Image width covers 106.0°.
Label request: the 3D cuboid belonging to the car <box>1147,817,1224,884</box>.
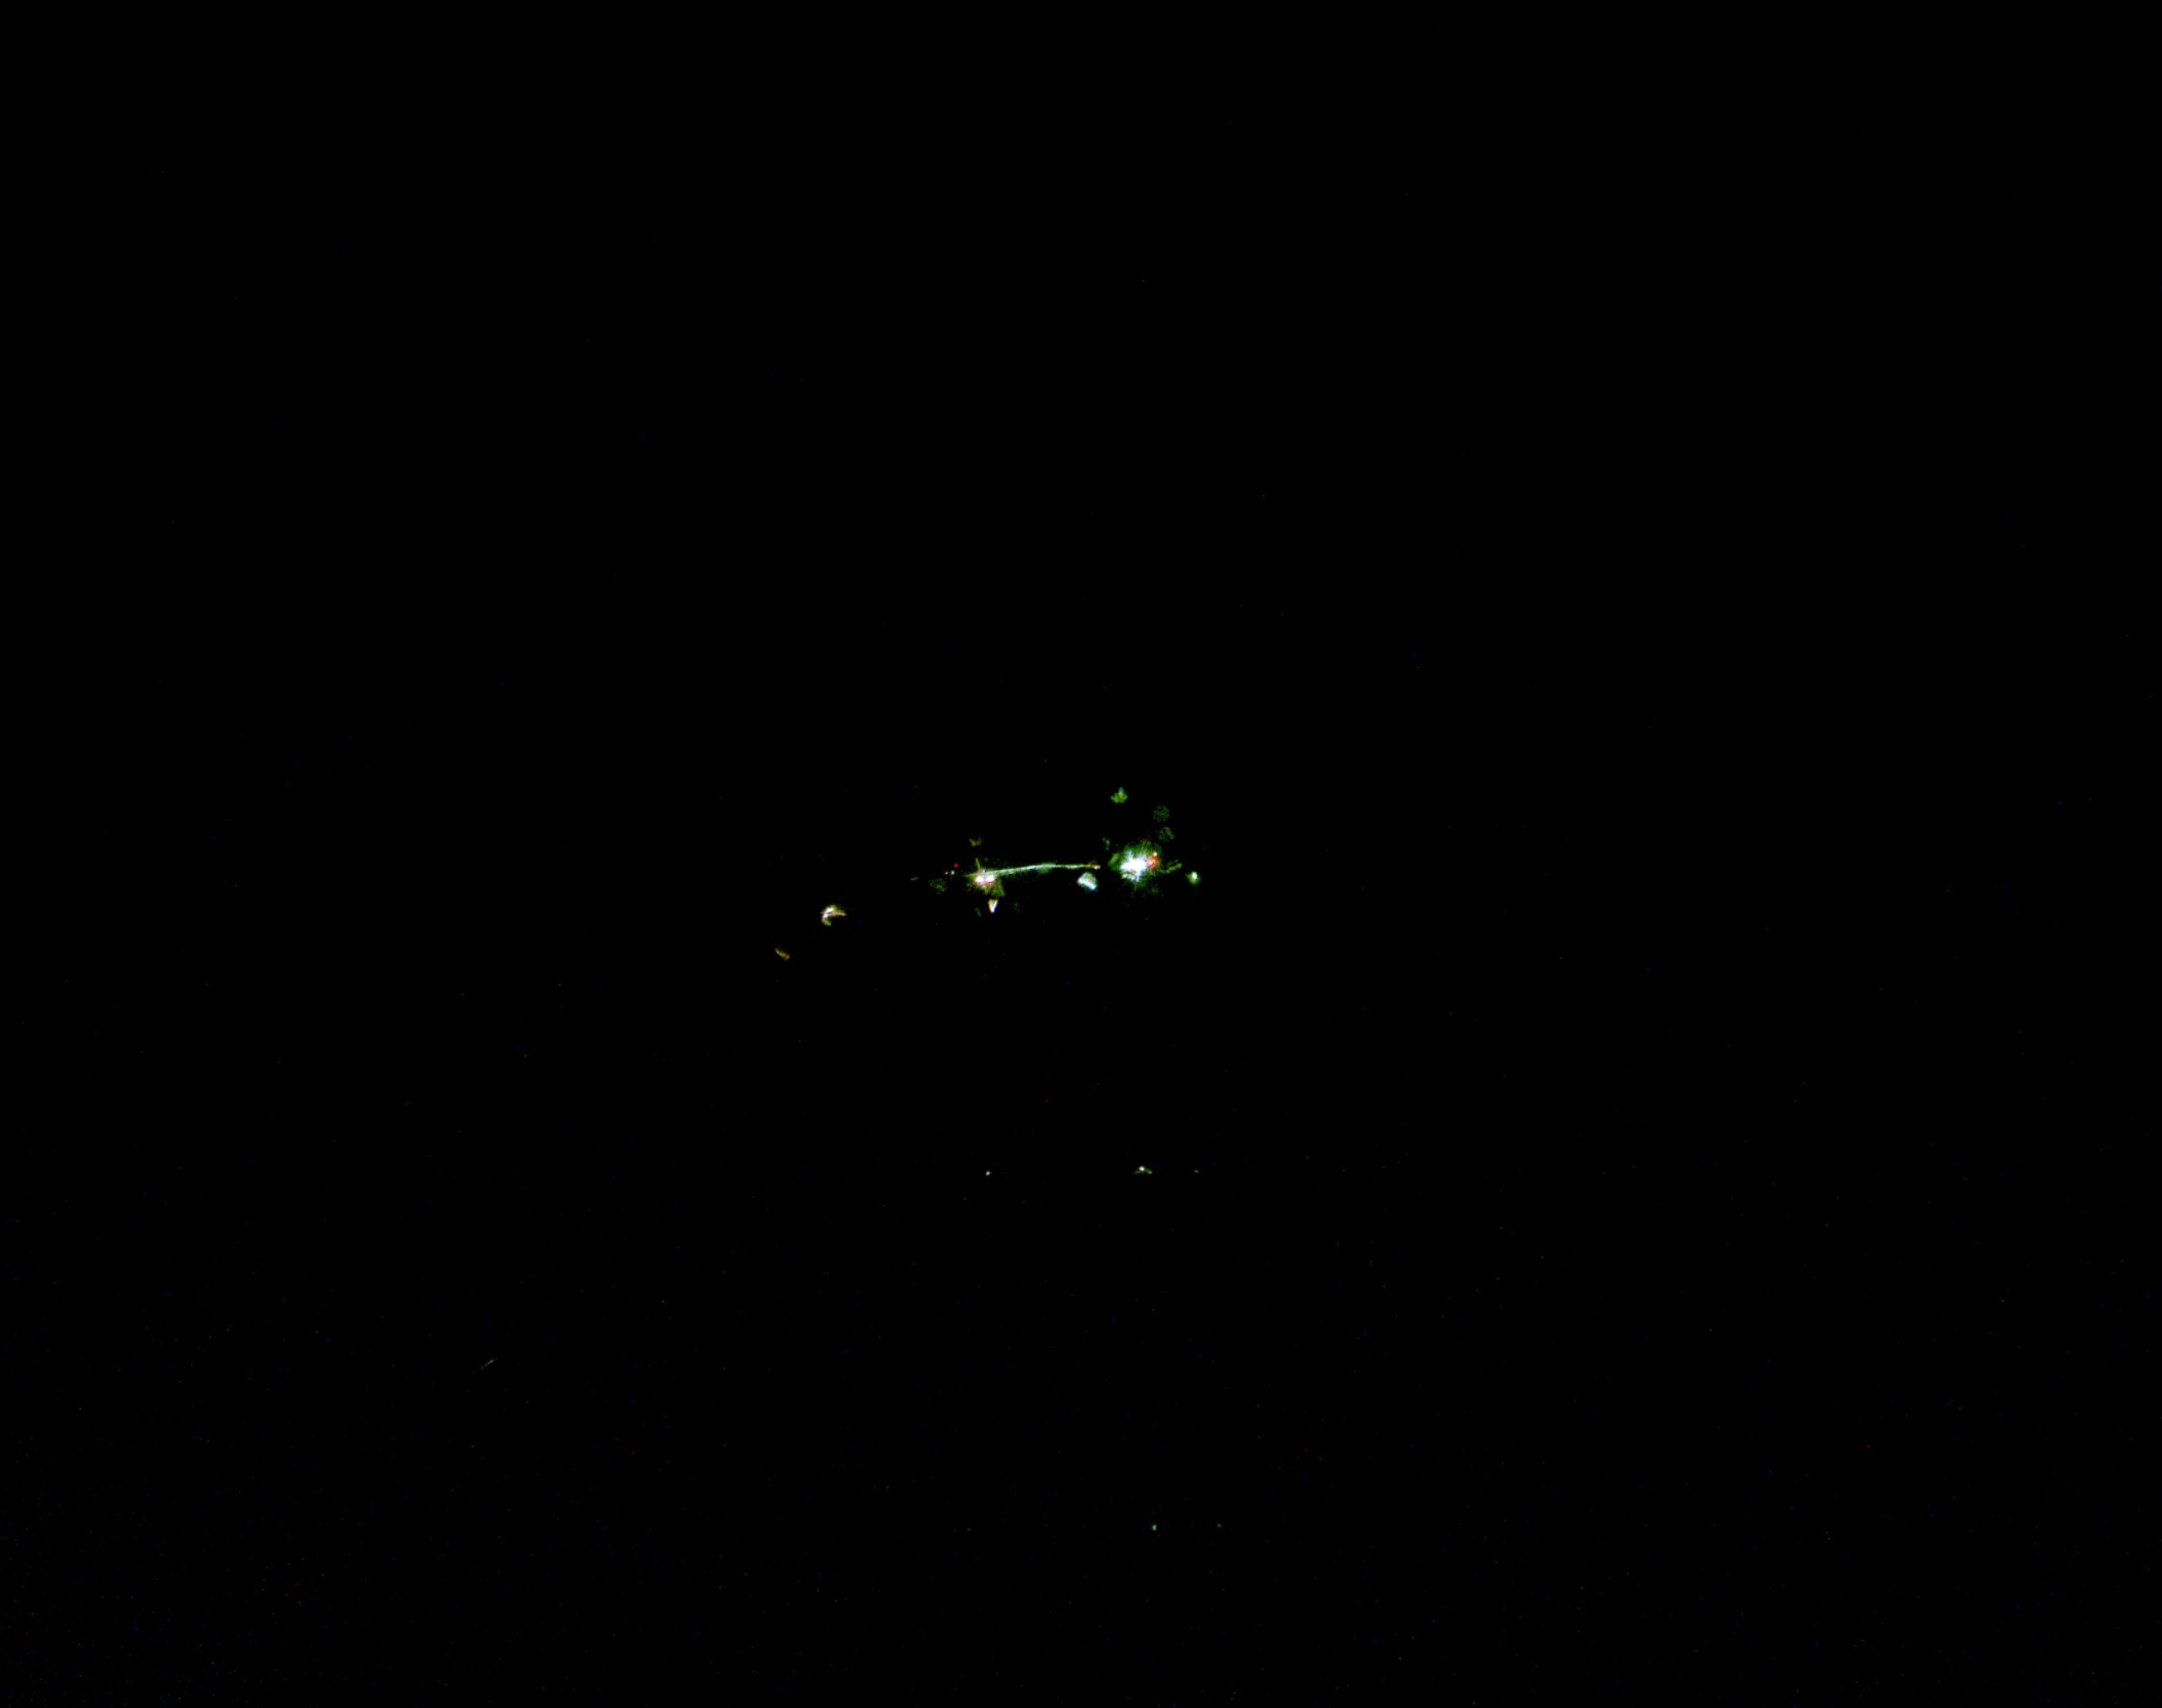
[{"bbox_3d":[3.354,-0.044,26.965,2.188,2.014,4.208,0,-2,2],"label":"car"}]
